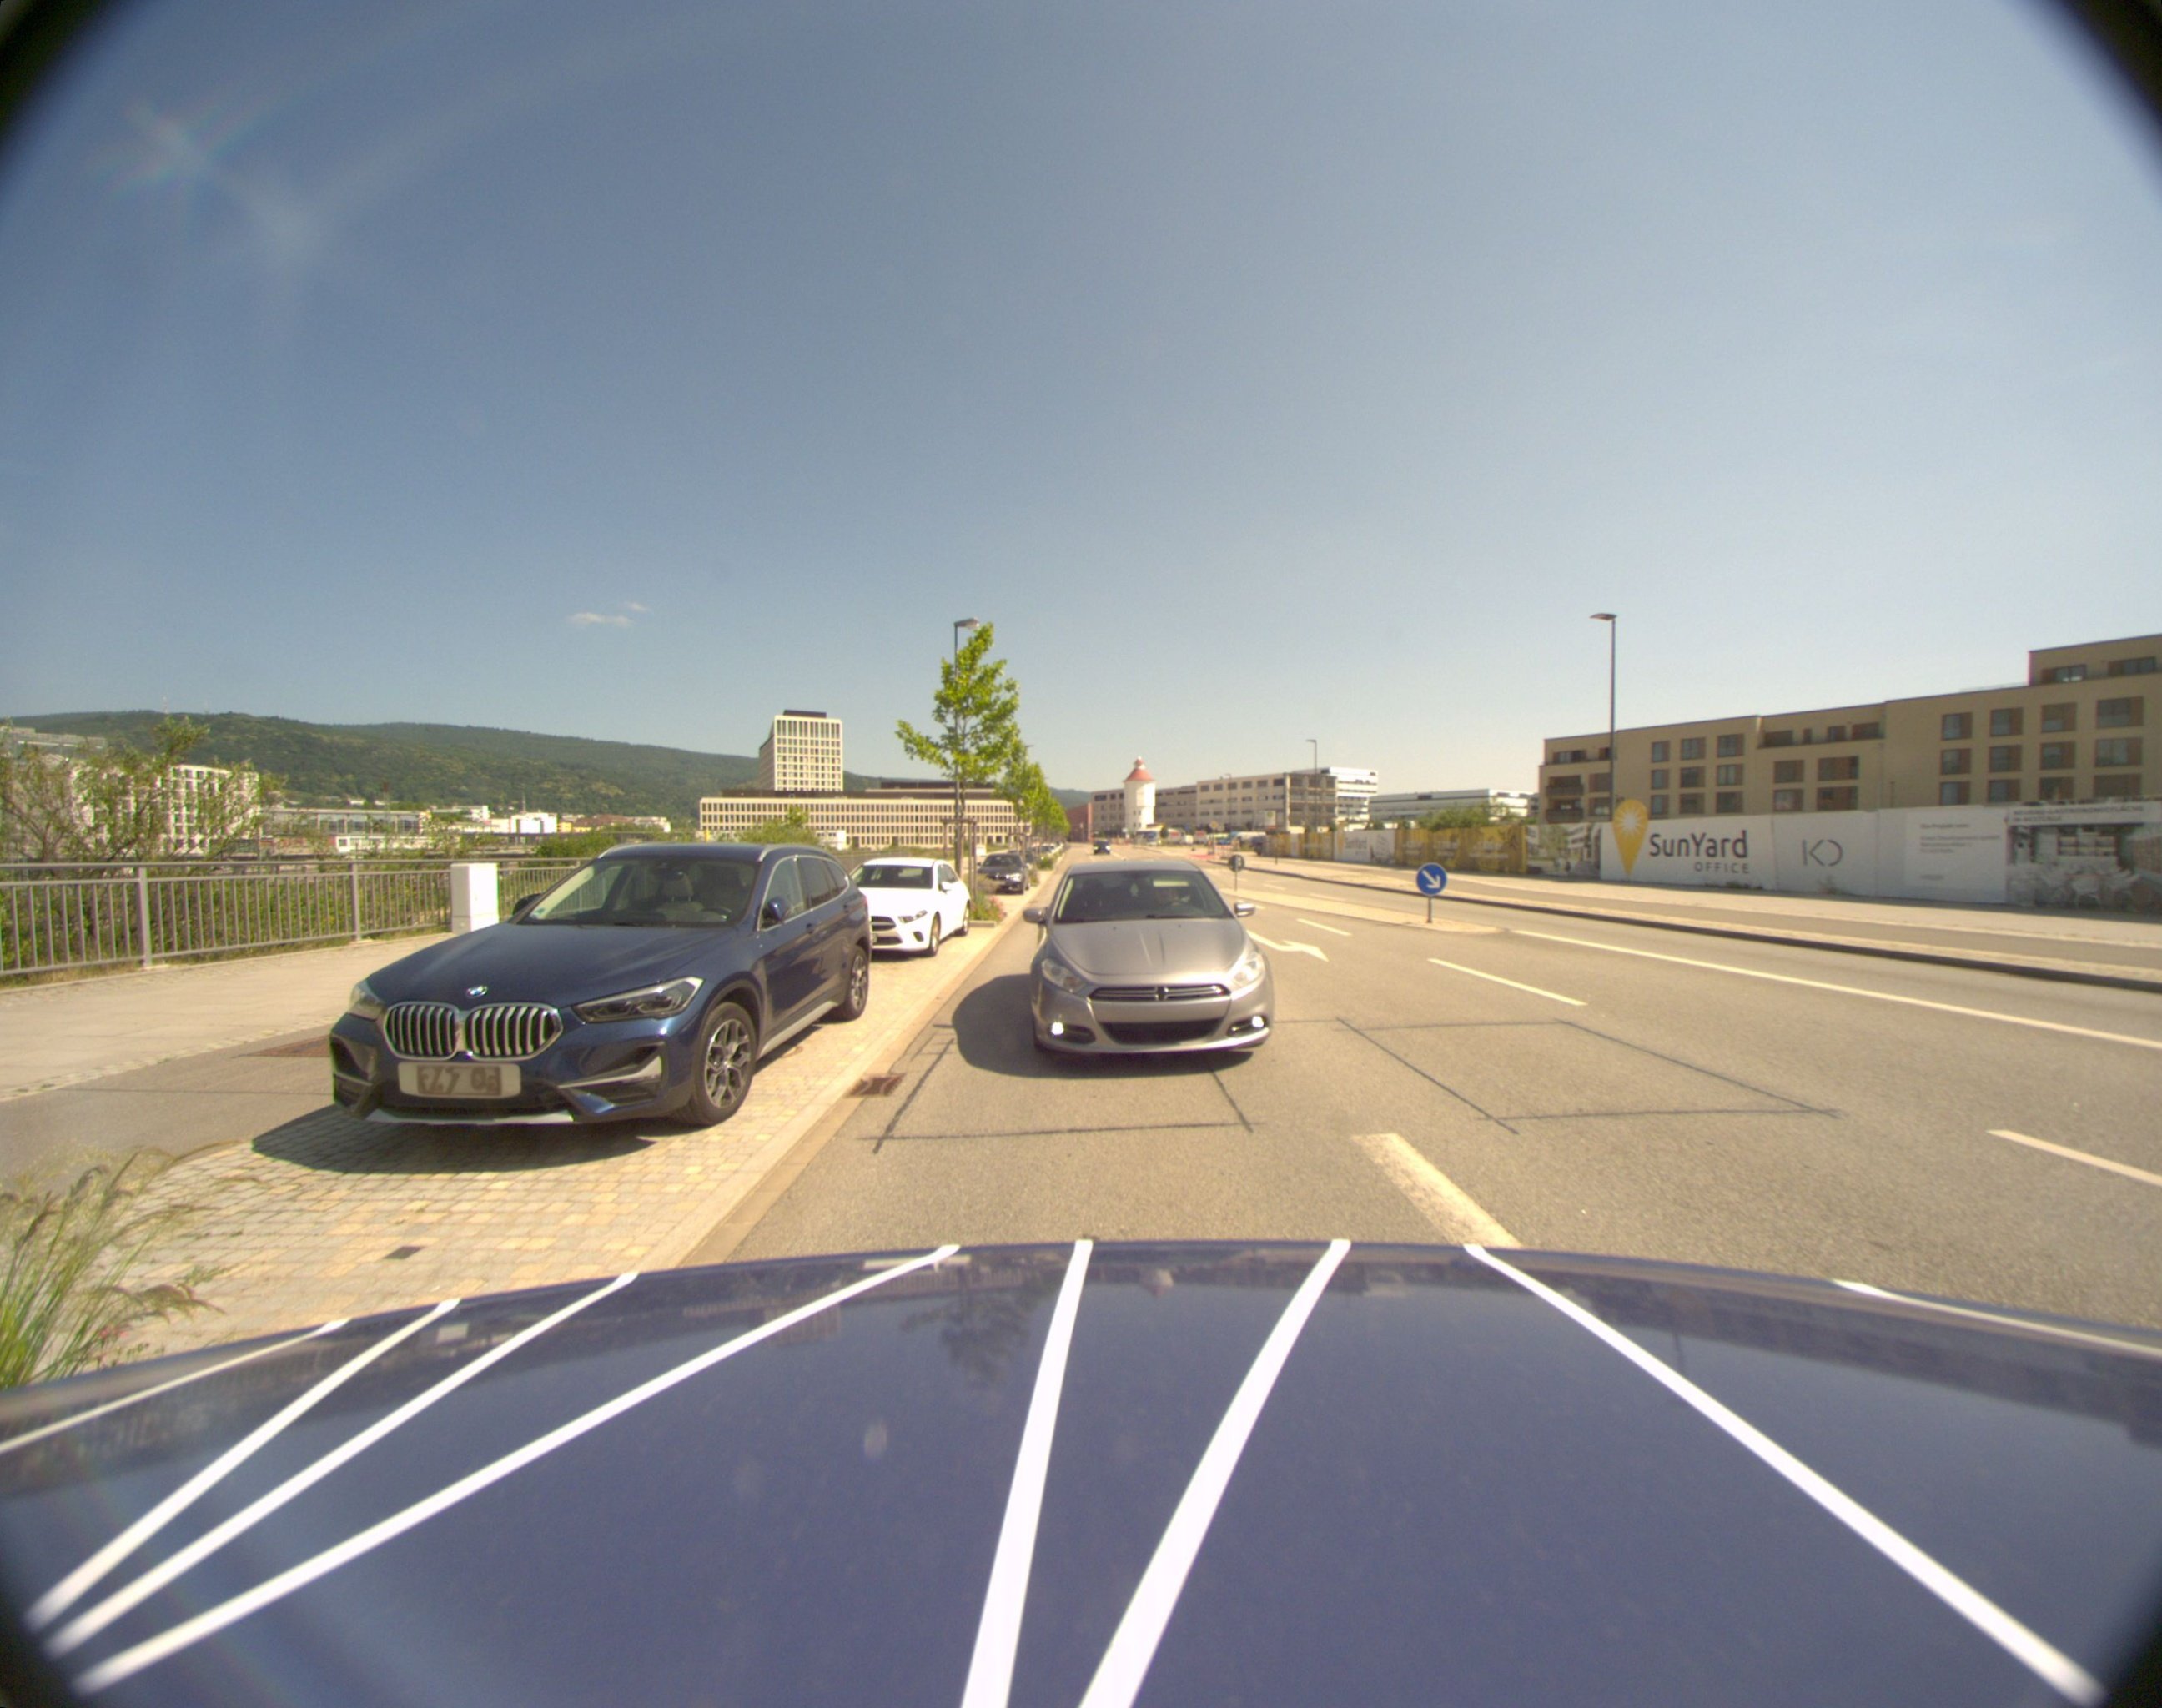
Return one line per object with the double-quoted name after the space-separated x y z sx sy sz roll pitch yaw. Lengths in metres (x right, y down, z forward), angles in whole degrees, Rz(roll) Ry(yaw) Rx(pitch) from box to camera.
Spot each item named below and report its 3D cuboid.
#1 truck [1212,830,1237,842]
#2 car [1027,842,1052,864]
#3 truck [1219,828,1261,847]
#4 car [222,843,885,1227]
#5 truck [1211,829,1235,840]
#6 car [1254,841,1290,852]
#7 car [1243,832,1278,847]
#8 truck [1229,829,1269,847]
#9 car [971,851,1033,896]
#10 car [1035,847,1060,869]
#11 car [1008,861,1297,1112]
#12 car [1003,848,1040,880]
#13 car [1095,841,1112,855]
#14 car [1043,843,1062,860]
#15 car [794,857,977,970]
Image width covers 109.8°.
33.383 -4.150 177.311 5.333 2.461 1.999 -3 1 -4 "truck"
-3.296 -0.131 61.107 1.768 1.609 3.374 -3 1 0 "car"
23.685 -2.438 113.290 5.633 2.461 1.999 -3 1 -4 "truck"
-2.892 0.784 5.515 1.808 1.674 4.270 1 1 0 "car"
34.596 -4.674 185.348 5.412 2.461 1.999 -2 1 -2 "truck"
19.624 -0.756 78.084 3.359 0.947 1.293 -2 1 3 "car"
22.826 -1.850 96.588 3.930 1.708 1.891 -3 1 -5 "car"
23.380 -2.238 105.886 5.005 2.215 1.999 -2 1 -1 "truck"
-2.816 0.640 27.803 1.808 1.424 3.915 2 1 0 "car"
-2.174 0.241 50.471 1.490 1.302 3.154 2 1 0 "car"
0.495 0.877 7.046 1.820 1.458 4.346 -2 1 1 "car"
-2.950 0.463 38.039 1.569 1.465 3.006 2 1 0 "car"
2.551 -0.719 87.357 1.819 1.458 4.347 -3 1 2 "car"
-2.631 -0.271 70.588 1.526 1.482 3.504 -3 1 0 "car"
-2.943 0.815 12.425 1.710 1.366 4.270 2 1 2 "car"
